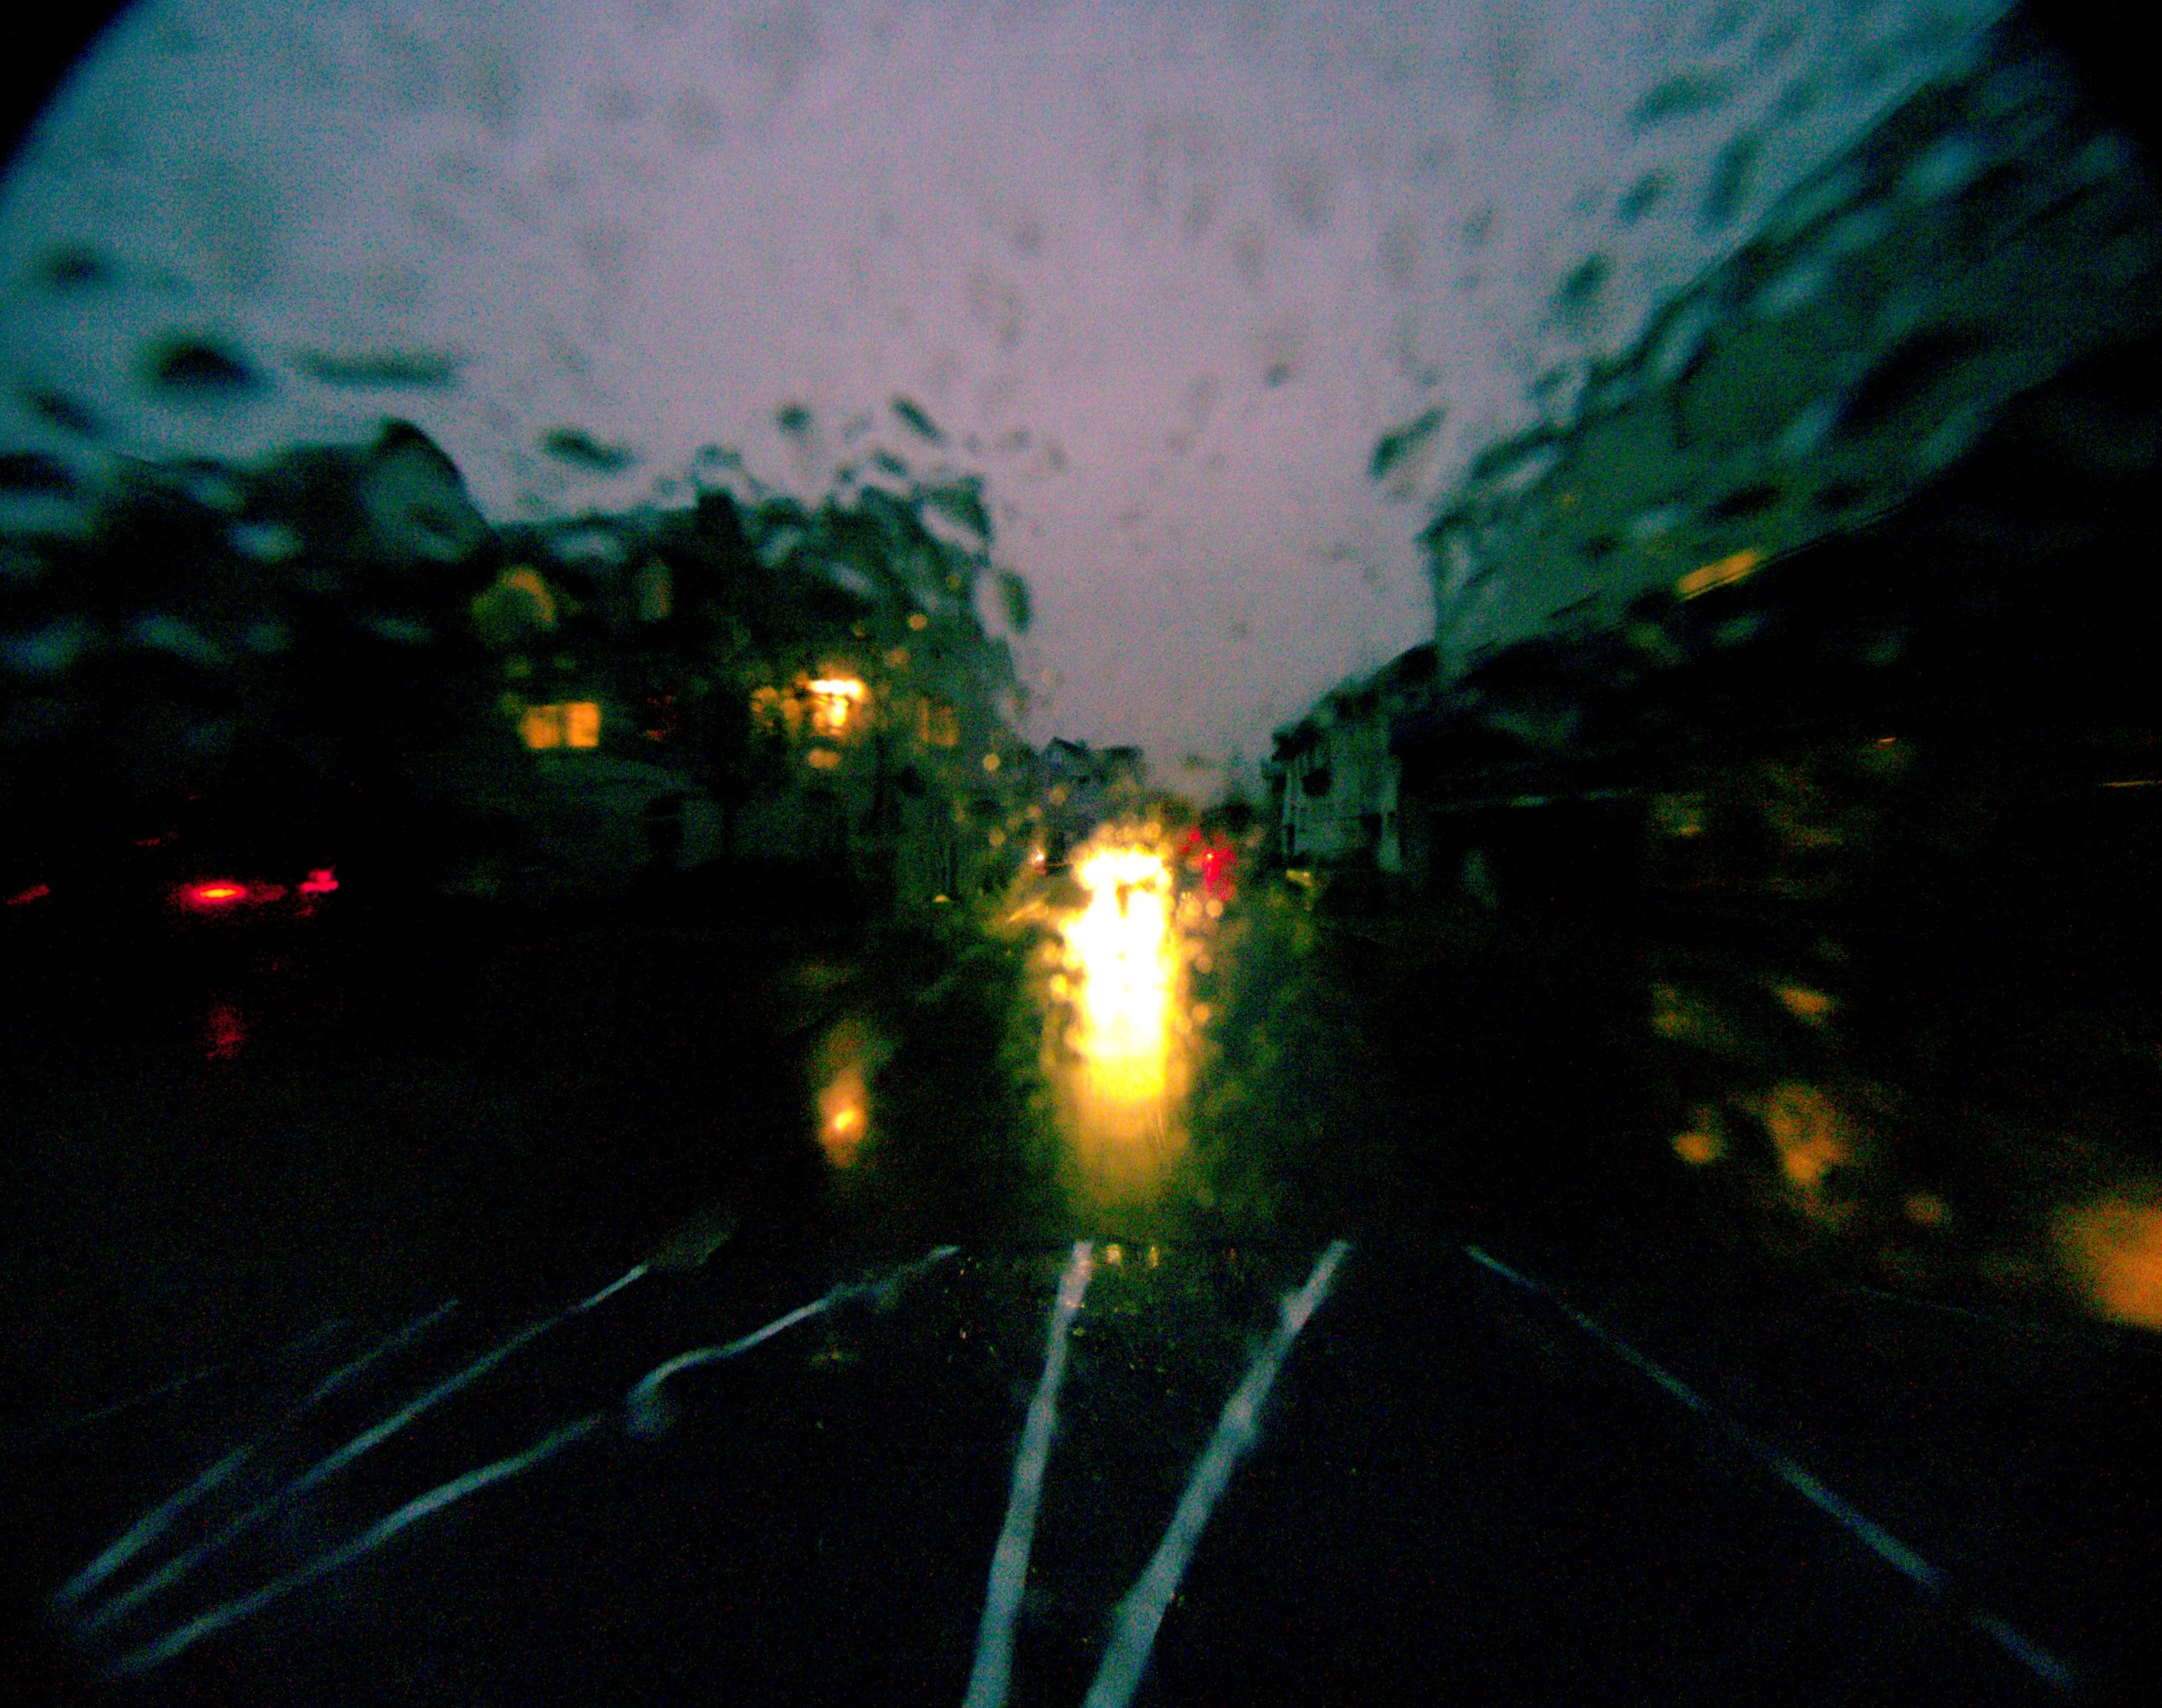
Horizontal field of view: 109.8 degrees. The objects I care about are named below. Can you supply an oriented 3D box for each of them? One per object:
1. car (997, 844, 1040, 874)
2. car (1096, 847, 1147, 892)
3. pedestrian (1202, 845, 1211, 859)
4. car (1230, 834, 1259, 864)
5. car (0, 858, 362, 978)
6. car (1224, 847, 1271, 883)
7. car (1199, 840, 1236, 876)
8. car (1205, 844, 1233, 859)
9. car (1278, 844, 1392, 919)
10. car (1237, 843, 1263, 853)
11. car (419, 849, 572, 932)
[{"bbox_3d":[-3.837,0.274,47.430,1.784,1.812,4.246,0,0,9],"label":"car"},{"bbox_3d":[1.662,0.567,30.205,1.878,1.622,4.001,-1,1,5],"label":"car"},{"bbox_3d":[14.498,-0.212,87.662,0.651,1.652,0.648,1,1,-38],"label":"pedestrian"},{"bbox_3d":[15.699,-0.503,72.784,2.044,2.644,4.215,-3,0,19],"label":"car"},{"bbox_3d":[-12.395,0.791,10.336,3.722,1.439,1.777,0,1,6],"label":"car"},{"bbox_3d":[7.622,0.474,35.174,1.797,1.448,4.397,-3,0,9],"label":"car"},{"bbox_3d":[8.017,0.212,44.402,1.883,1.889,4.838,-3,0,12],"label":"car"},{"bbox_3d":[14.183,-0.269,78.102,1.995,1.491,4.006,-1,1,22],"label":"car"},{"bbox_3d":[6.190,0.600,18.936,1.725,1.605,3.816,-3,0,4],"label":"car"},{"bbox_3d":[29.082,-1.059,130.766,3.988,1.637,1.865,2,1,34],"label":"car"},{"bbox_3d":[-11.879,0.651,15.711,1.798,1.459,4.214,0,0,-28],"label":"car"}]
